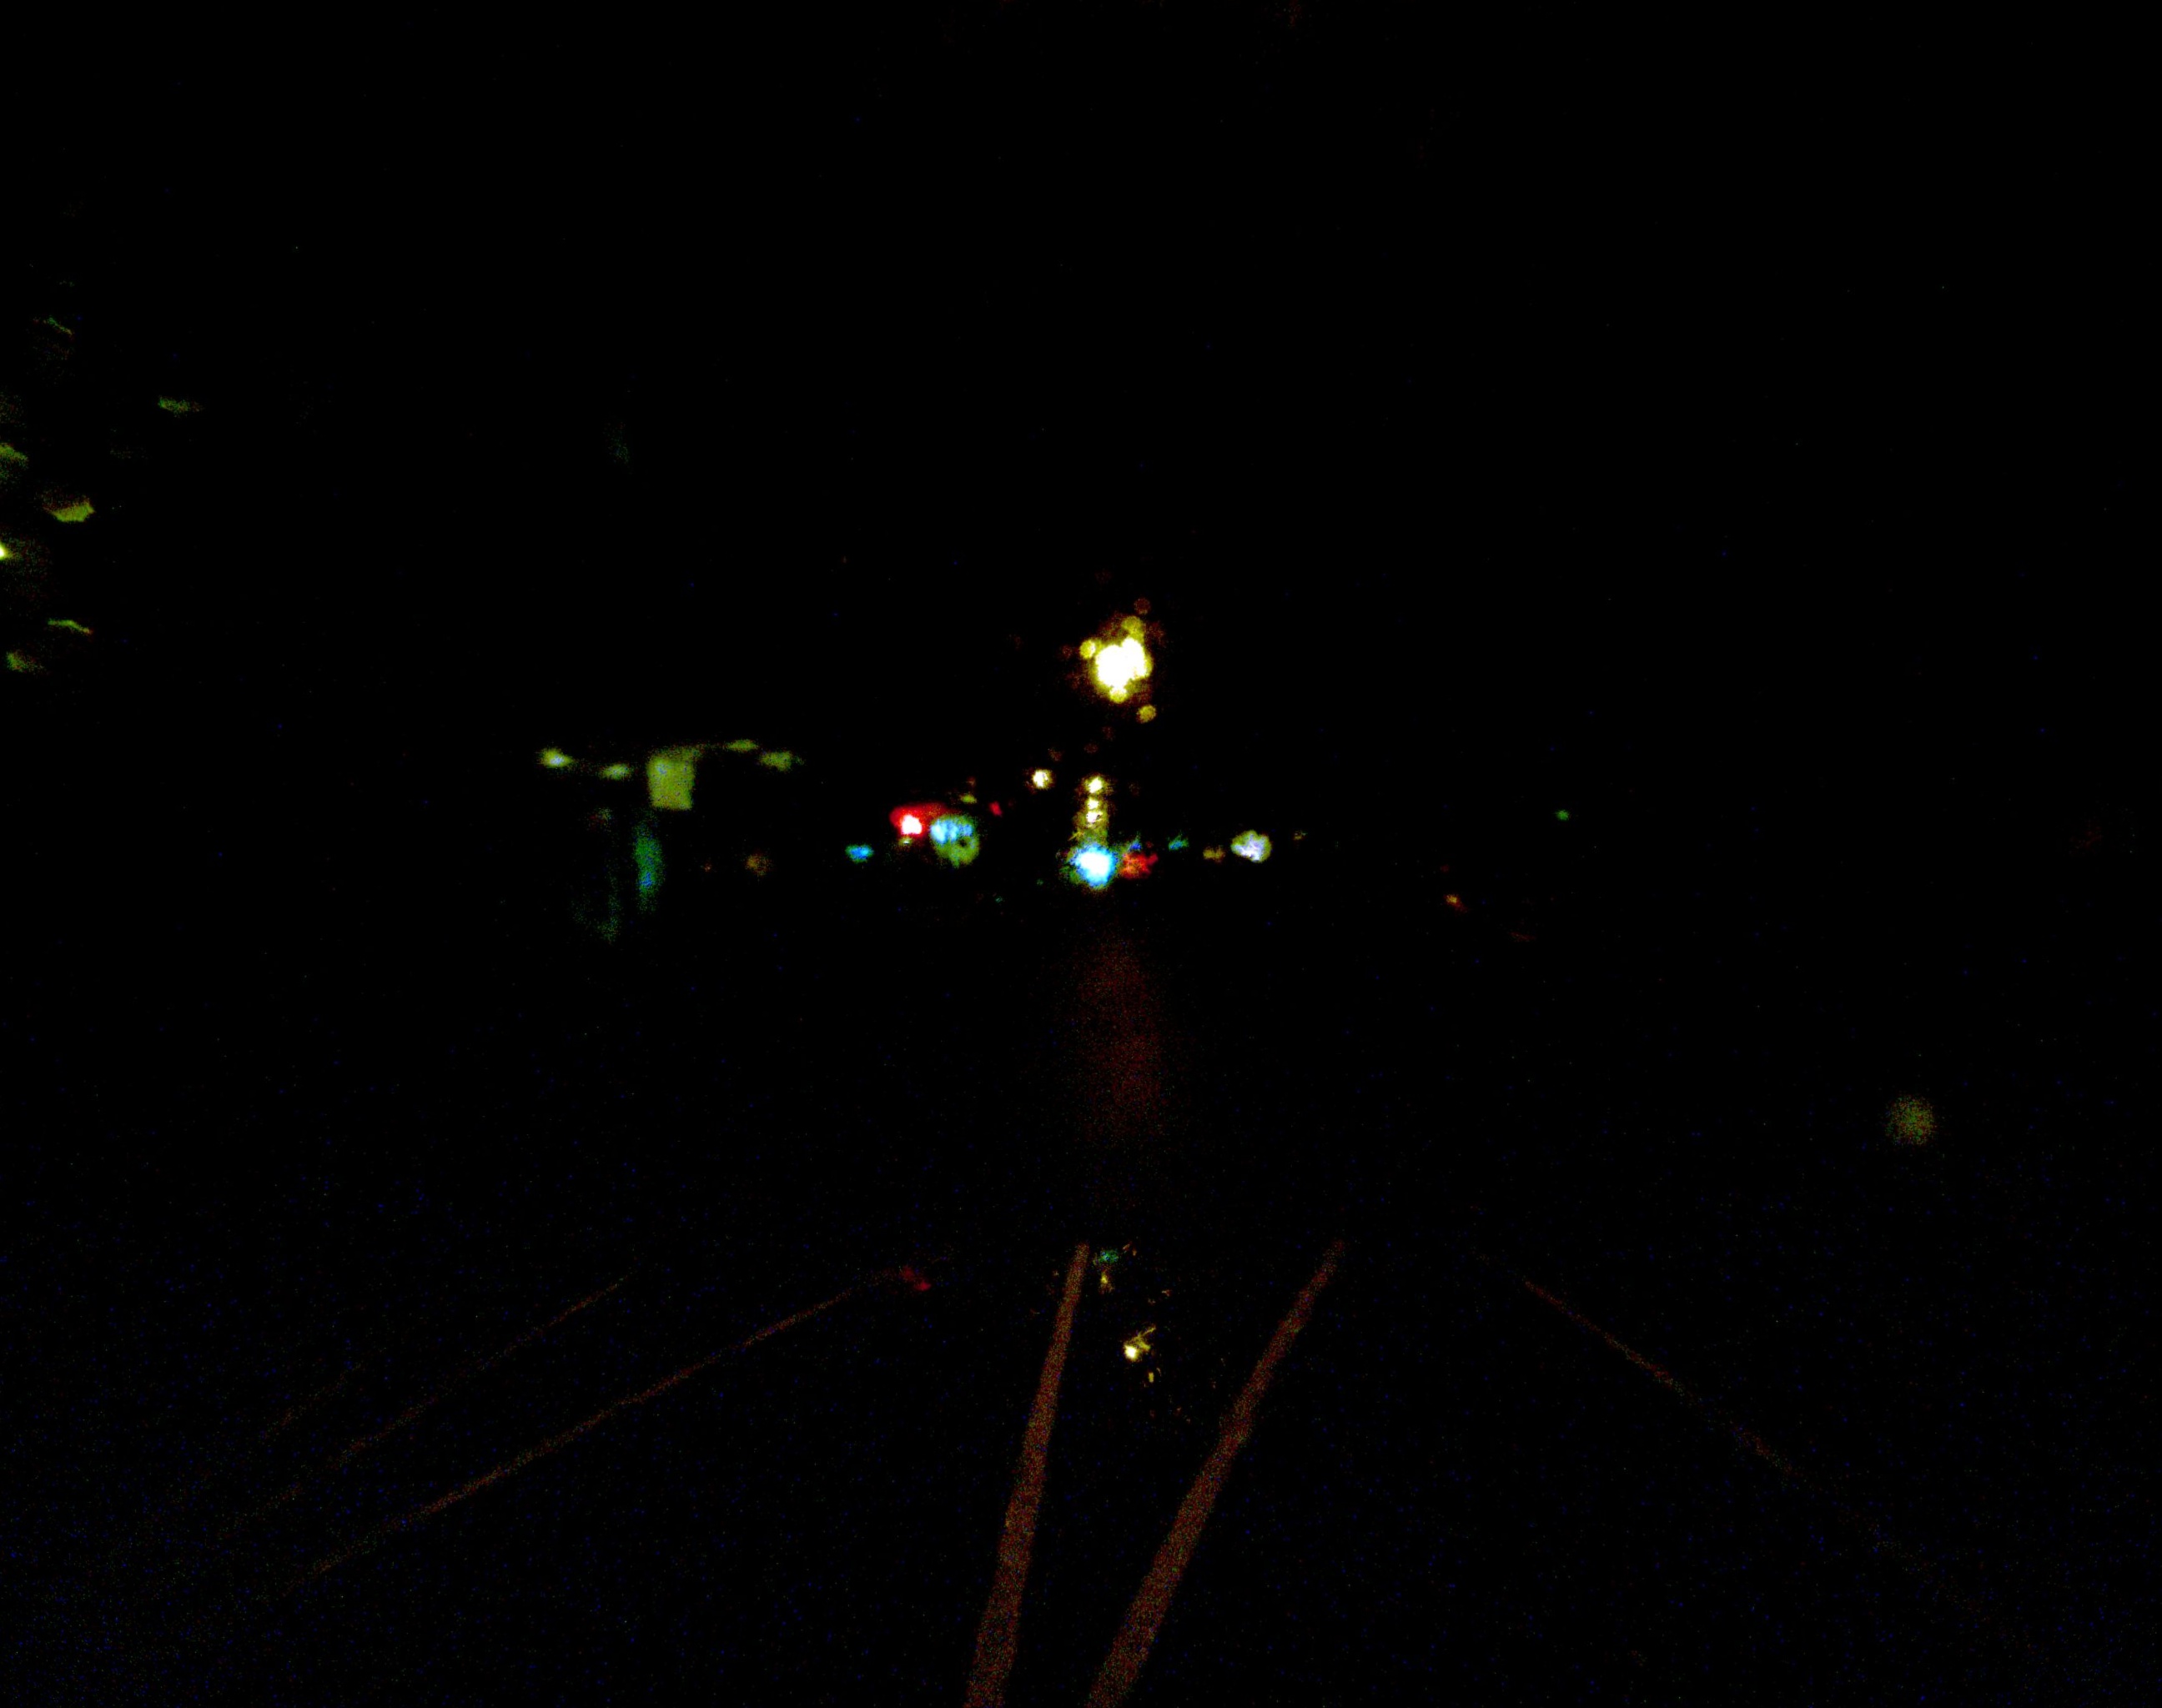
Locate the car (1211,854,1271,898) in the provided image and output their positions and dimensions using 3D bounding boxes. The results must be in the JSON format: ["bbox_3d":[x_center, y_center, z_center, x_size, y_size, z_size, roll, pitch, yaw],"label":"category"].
[{"bbox_3d":[5.783,0.789,27.734,1.696,1.470,3.385,-2,-1,5],"label":"car"}]

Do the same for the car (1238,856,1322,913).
[{"bbox_3d":[5.558,0.802,21.554,1.531,1.445,3.384,-2,0,1],"label":"car"}]

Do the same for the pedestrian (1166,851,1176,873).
[{"bbox_3d":[8.505,0.736,71.649,0.776,2.002,0.587,-4,1,1],"label":"pedestrian"}]

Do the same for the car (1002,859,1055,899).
[{"bbox_3d":[-2.154,1.000,32.091,1.846,1.498,4.162,-1,0,1],"label":"car"}]

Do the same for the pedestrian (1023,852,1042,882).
[{"bbox_3d":[-2.738,0.720,43.090,1.007,1.698,0.614,-1,1,1],"label":"pedestrian"}]

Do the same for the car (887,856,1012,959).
[{"bbox_3d":[-2.417,0.911,14.876,1.676,1.712,3.856,-1,0,1],"label":"car"}]

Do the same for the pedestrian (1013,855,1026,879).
[{"bbox_3d":[-5.051,1.090,62.434,0.776,1.890,0.777,-4,1,1],"label":"pedestrian"}]

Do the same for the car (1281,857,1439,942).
[{"bbox_3d":[5.540,0.826,15.681,1.731,1.445,4.273,-2,0,1],"label":"car"}]

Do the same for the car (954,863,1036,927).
[{"bbox_3d":[-2.271,1.056,21.059,1.689,1.498,4.162,-1,0,1],"label":"car"}]

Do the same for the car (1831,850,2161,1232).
[{"bbox_3d":[5.398,0.786,2.745,1.731,1.565,3.720,-2,0,1],"label":"car"}]

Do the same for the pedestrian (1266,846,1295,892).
[{"bbox_3d":[8.076,0.583,30.711,0.912,1.778,0.629,-4,1,2],"label":"pedestrian"}]

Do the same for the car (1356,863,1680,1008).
[{"bbox_3d":[5.313,0.868,10.083,1.731,1.384,4.555,-2,0,1],"label":"car"}]

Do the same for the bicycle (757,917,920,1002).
[{"bbox_3d":[-3.142,1.309,9.751,2.267,0.889,0.619,-1,1,30],"label":"bicycle"}]

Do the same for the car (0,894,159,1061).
[{"bbox_3d":[-11.994,1.281,7.299,3.996,1.476,1.895,-3,0,2],"label":"car"}]

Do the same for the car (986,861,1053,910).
[{"bbox_3d":[-2.051,1.038,26.379,1.846,1.498,4.162,-1,0,1],"label":"car"}]

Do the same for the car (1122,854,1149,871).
[{"bbox_3d":[4.869,0.809,68.787,1.878,1.386,4.073,-2,-1,-3],"label":"car"}]

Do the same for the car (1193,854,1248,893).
[{"bbox_3d":[5.770,0.788,31.766,1.697,1.470,3.964,-2,-1,2],"label":"car"}]
